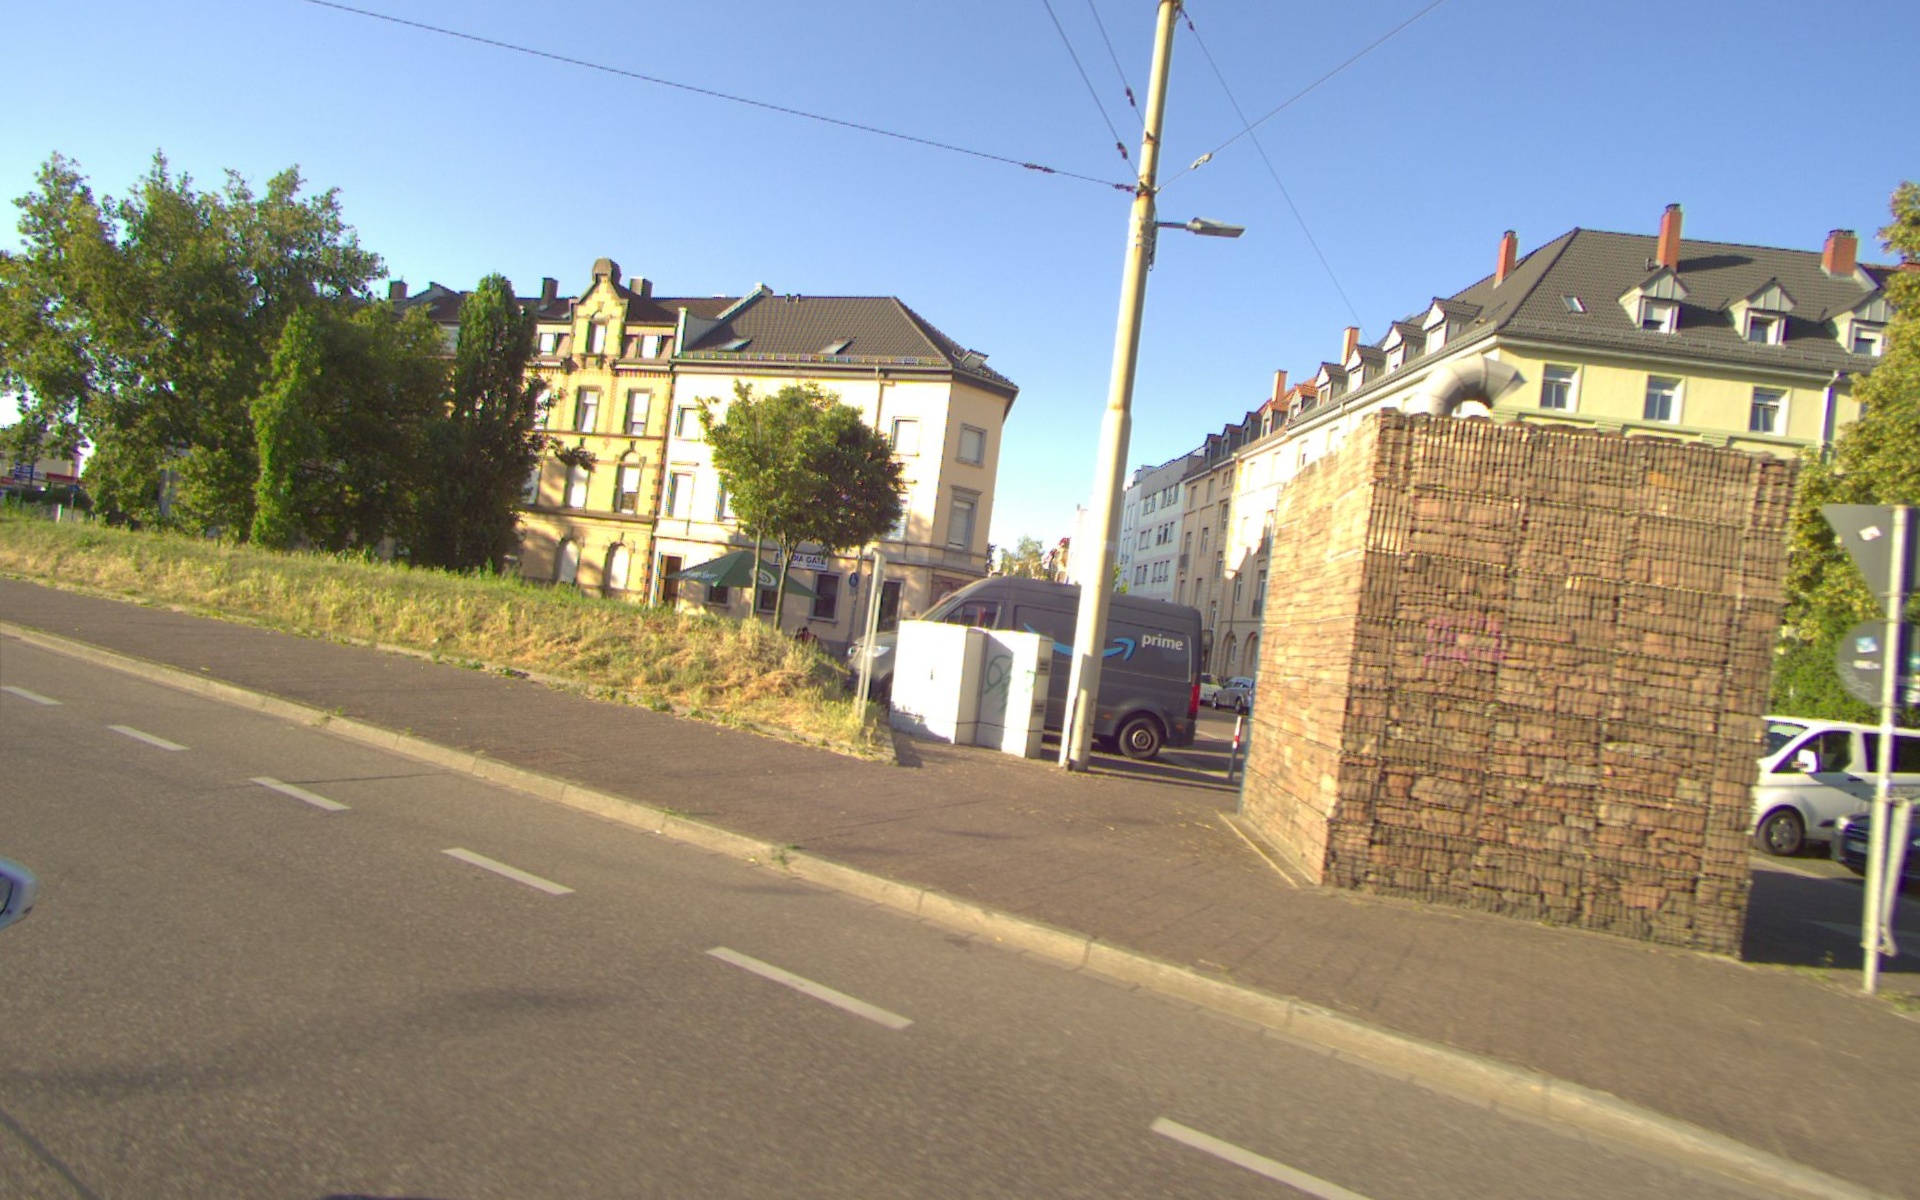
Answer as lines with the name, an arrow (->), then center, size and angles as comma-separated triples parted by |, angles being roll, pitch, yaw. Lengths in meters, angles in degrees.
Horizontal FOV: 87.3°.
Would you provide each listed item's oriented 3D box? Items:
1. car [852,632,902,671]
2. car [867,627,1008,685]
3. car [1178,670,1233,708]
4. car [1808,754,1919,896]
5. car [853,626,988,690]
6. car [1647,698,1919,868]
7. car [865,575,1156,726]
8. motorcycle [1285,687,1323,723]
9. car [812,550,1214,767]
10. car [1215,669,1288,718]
car -> -2.968, 1.767, 35.335 | 1.496, 1.057, 3.538 | 7, -1, -7
car -> -0.669, 1.529, 27.725 | 3.642, 1.103, 1.705 | 7, -1, -7
car -> 11.298, 4.080, 46.486 | 1.292, 1.436, 3.631 | 7, -2, -3
car -> 12.940, 2.955, 12.546 | 3.385, 1.476, 1.630 | 7, -1, -6
car -> -1.237, 1.714, 30.193 | 3.822, 1.390, 1.778 | 7, -1, -7
car -> 13.491, 2.847, 15.433 | 4.668, 2.002, 1.924 | 7, -1, -9
car -> 0.899, 0.990, 19.974 | 5.321, 2.240, 2.042 | 7, -1, -7
motorcycle -> 13.753, 4.190, 40.283 | 0.735, 1.208, 2.105 | 7, -2, 3
car -> 0.789, 0.962, 16.764 | 6.107, 2.698, 2.042 | 7, -1, -7
car -> 11.581, 3.690, 40.182 | 1.504, 1.548, 3.644 | 7, -2, -3
